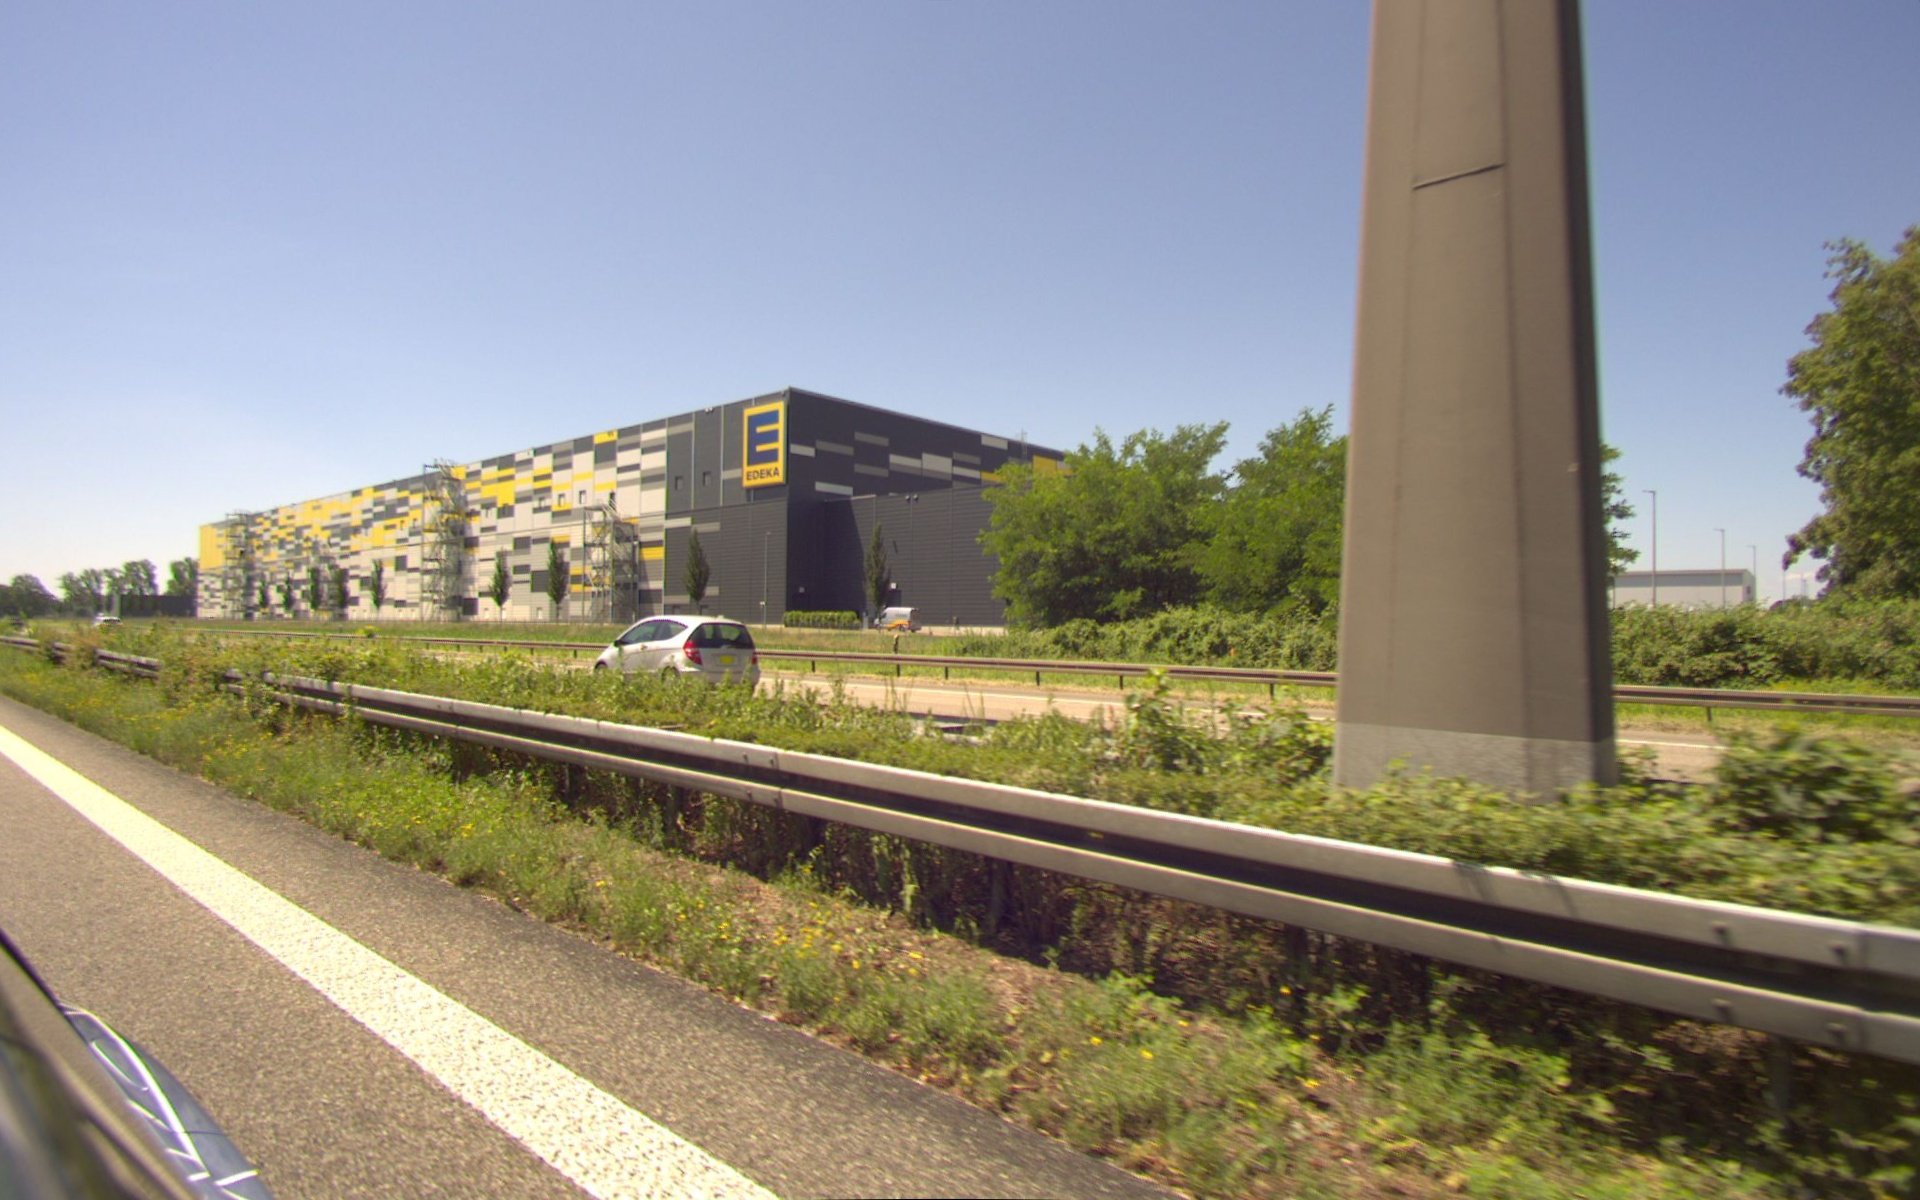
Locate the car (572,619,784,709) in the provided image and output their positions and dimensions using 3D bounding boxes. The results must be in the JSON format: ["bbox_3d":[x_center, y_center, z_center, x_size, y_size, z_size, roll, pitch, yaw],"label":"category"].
[{"bbox_3d":[-5.530,1.164,19.634,4.237,1.565,1.880,-1,-2,39],"label":"car"}]

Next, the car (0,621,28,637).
[{"bbox_3d":[-94.586,2.872,100.785,5.029,1.544,1.880,-1,-5,40],"label":"car"}]

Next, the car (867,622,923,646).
[{"bbox_3d":[-7.041,3.607,108.767,6.171,2.475,2.372,-1,-3,41],"label":"car"}]

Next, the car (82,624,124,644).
[{"bbox_3d":[-71.486,2.837,84.366,4.740,1.606,1.880,-1,-3,40],"label":"car"}]
